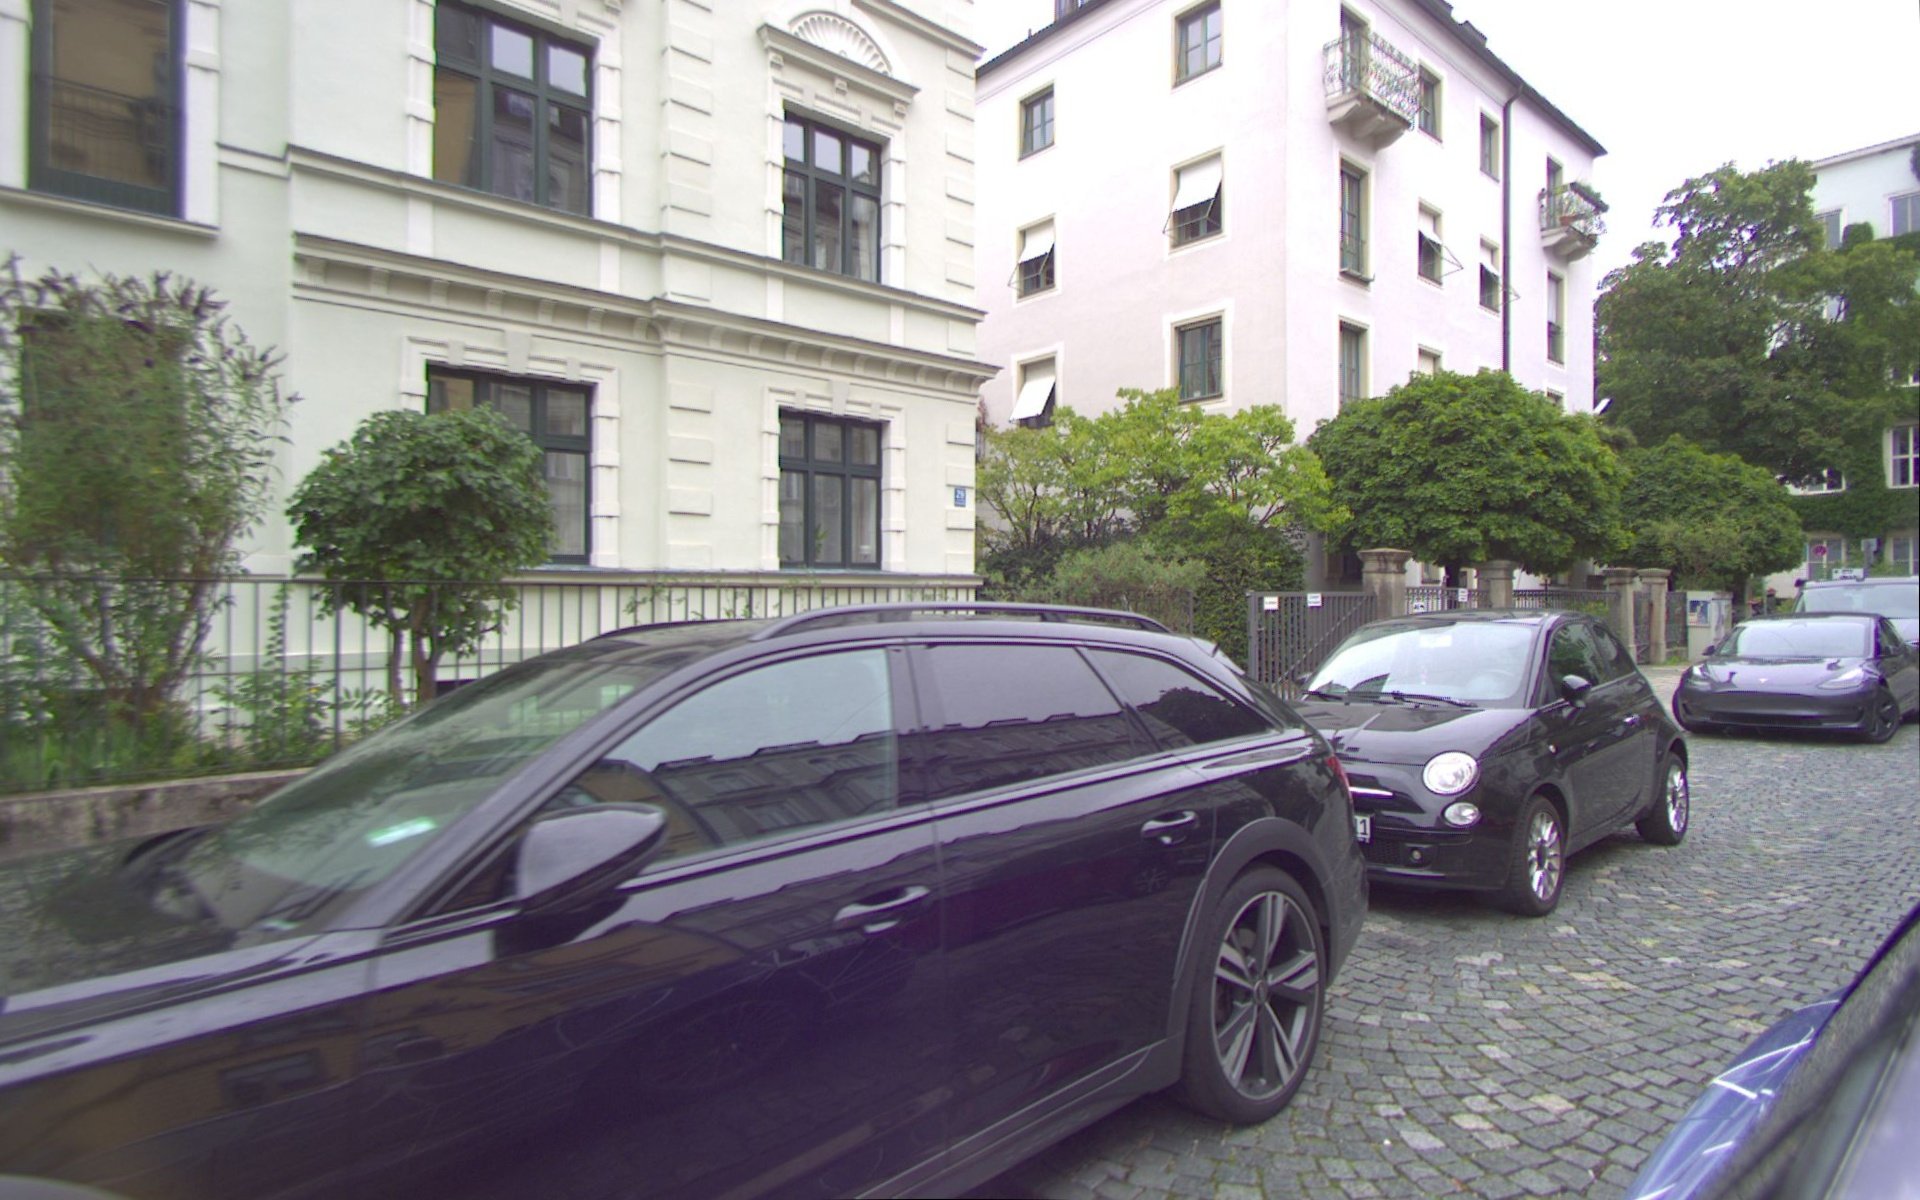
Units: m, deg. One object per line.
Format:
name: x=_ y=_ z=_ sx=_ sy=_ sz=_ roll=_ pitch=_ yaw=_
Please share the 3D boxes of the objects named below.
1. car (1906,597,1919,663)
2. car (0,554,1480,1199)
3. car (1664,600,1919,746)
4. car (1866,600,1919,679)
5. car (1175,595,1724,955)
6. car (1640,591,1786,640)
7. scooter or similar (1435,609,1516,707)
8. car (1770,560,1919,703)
car: x=22.549 y=0.662 z=22.494 sx=4.206 sy=1.392 sz=1.743 roll=0 pitch=2 yaw=-41
car: x=-0.733 y=0.741 z=2.666 sx=5.015 sy=1.522 sz=1.908 roll=0 pitch=-2 yaw=-40
car: x=10.625 y=0.768 z=12.511 sx=4.449 sy=1.484 sz=1.942 roll=0 pitch=-1 yaw=-38
car: x=18.770 y=0.719 z=19.254 sx=4.108 sy=1.392 sz=1.743 roll=0 pitch=2 yaw=-41
car: x=3.111 y=0.769 z=6.142 sx=3.621 sy=1.528 sz=1.669 roll=0 pitch=-2 yaw=-41
car: x=27.462 y=0.572 z=36.992 sx=1.868 sy=1.702 sz=3.991 roll=0 pitch=-1 yaw=-42
scooter or similar: x=7.109 y=0.766 z=13.924 sx=1.446 sy=1.230 sz=0.443 roll=-1 pitch=6 yaw=-44
car: x=14.751 y=0.452 z=16.165 sx=4.881 sy=1.995 sz=1.996 roll=0 pitch=-2 yaw=-42
